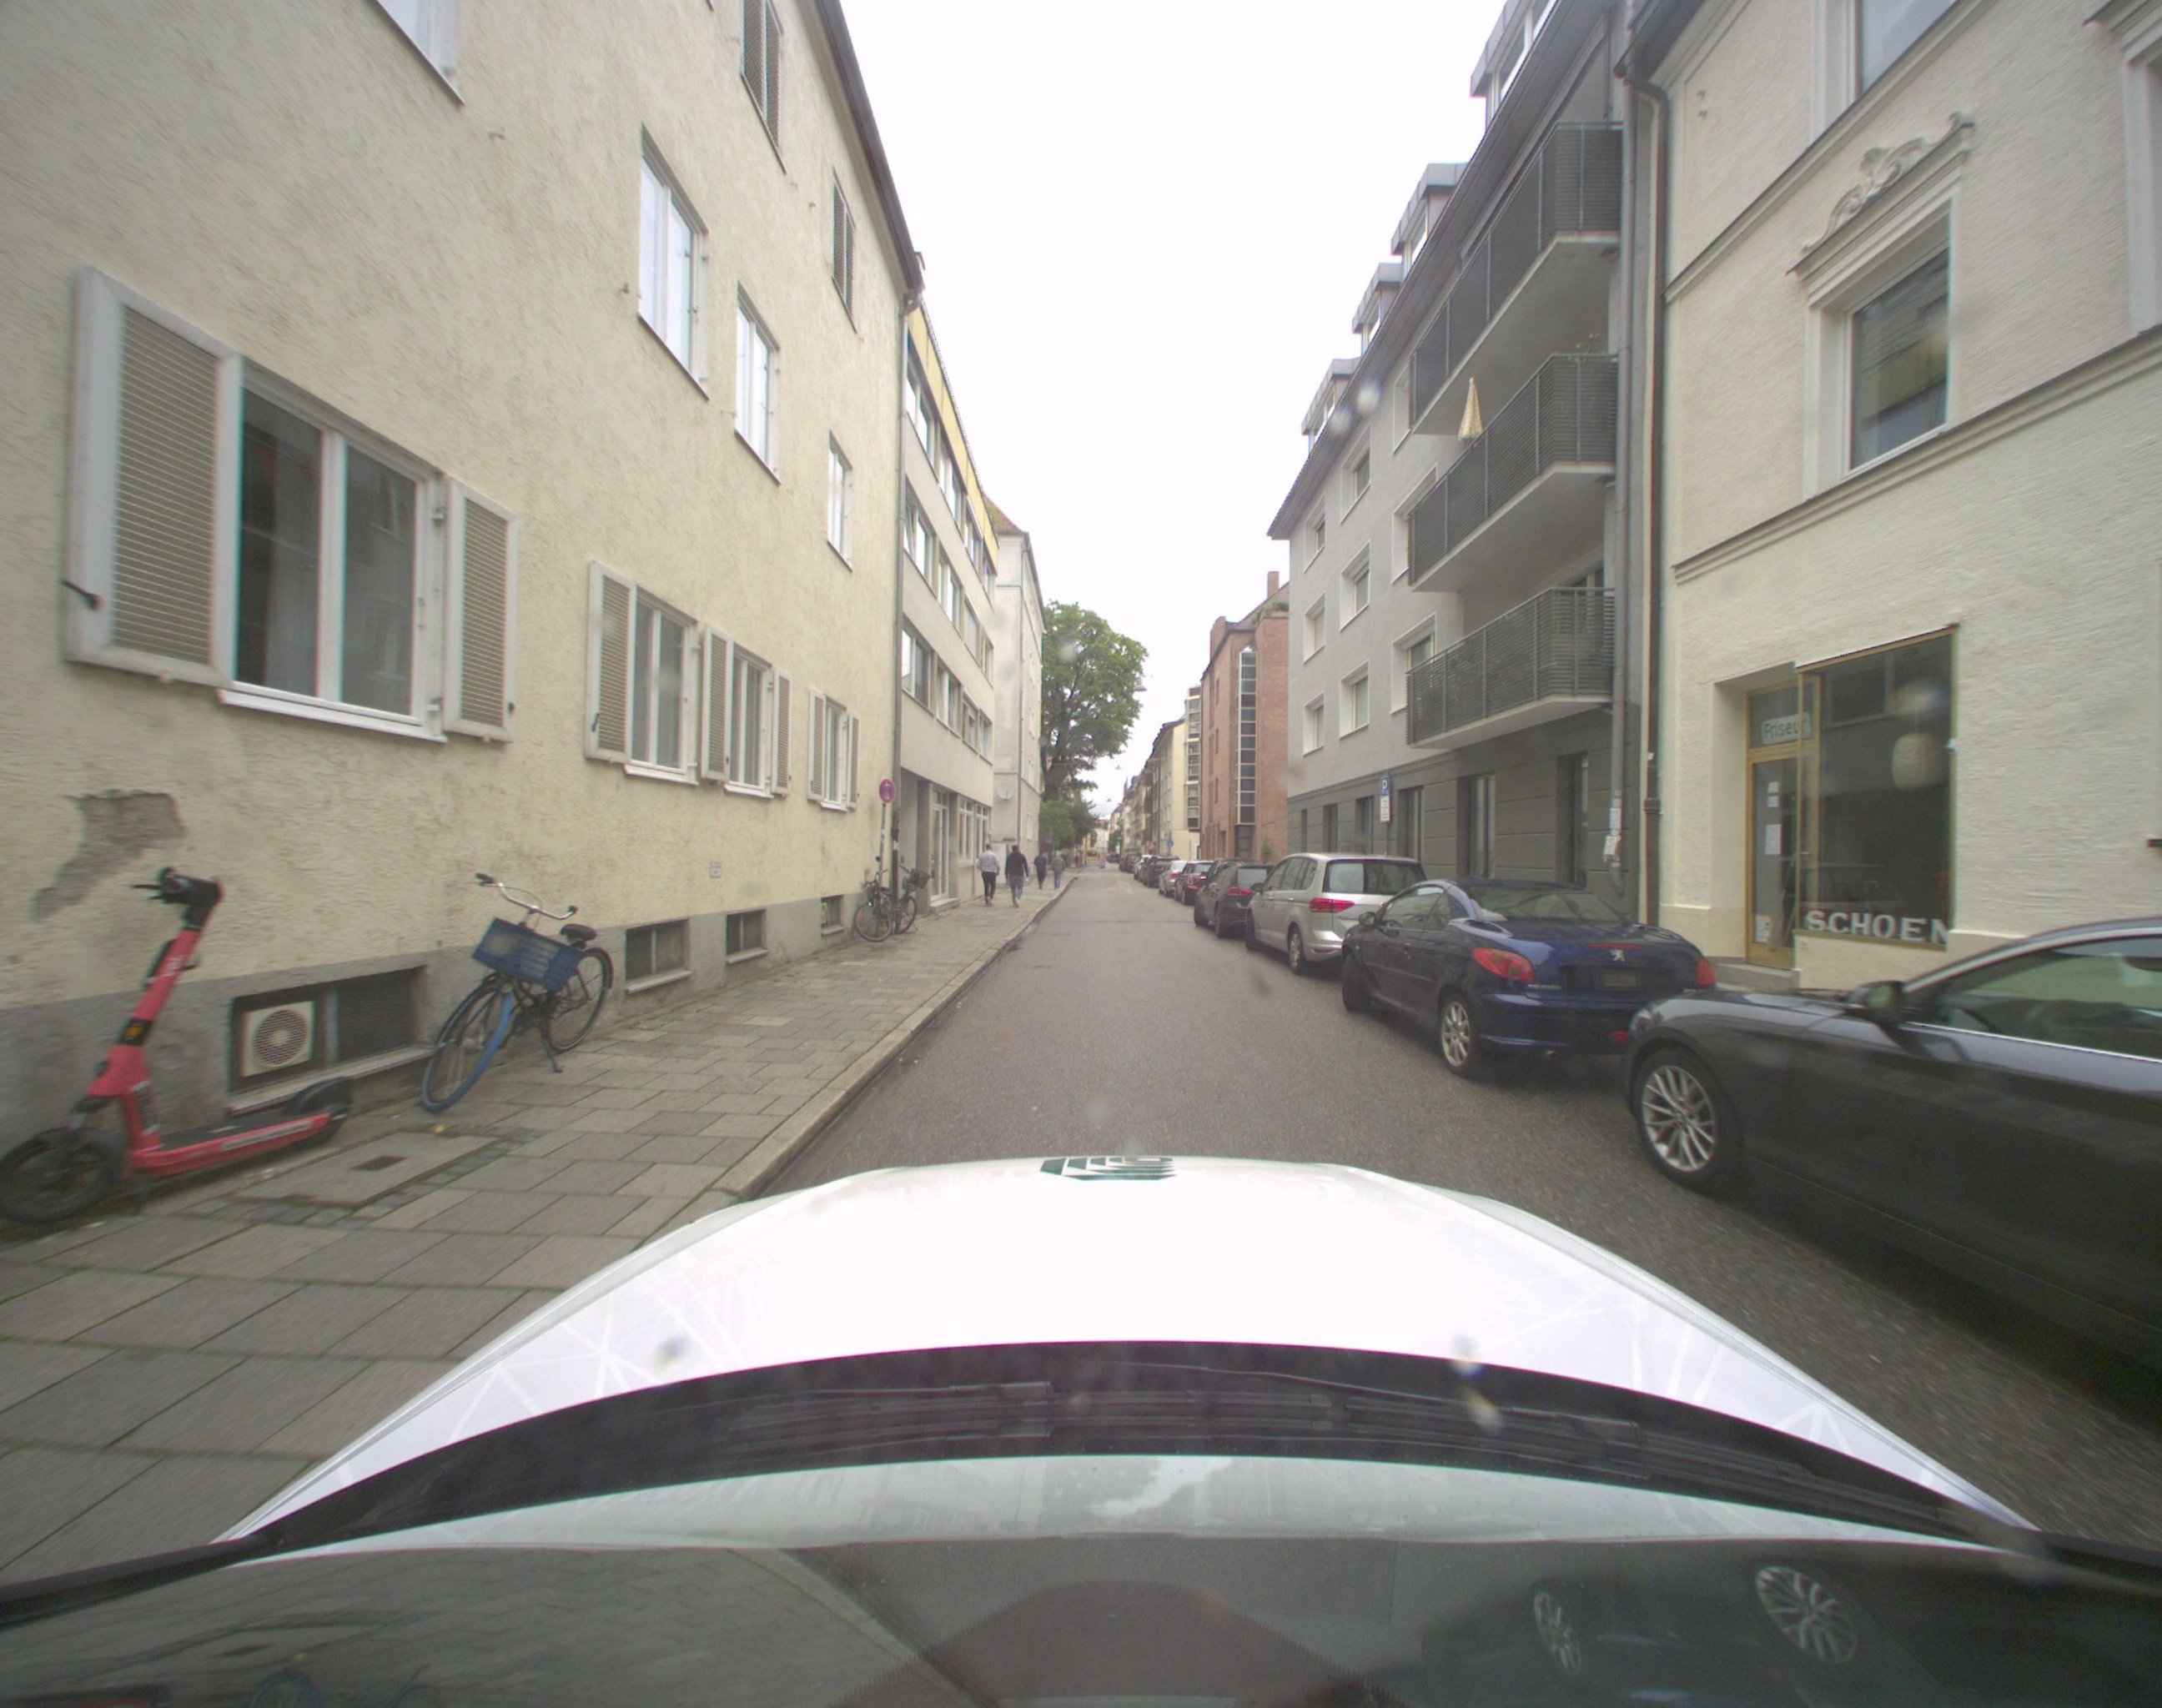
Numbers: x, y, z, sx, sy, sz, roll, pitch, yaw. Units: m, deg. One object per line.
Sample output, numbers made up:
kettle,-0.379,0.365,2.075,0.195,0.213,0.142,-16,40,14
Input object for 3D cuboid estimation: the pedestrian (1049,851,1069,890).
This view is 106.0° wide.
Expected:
pedestrian,-0.979,0.735,36.331,0.750,1.659,0.906,2,-1,1

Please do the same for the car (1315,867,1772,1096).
car,3.431,0.819,7.021,1.801,1.363,3.947,0,0,2

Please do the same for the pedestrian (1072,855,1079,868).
pedestrian,-0.645,0.914,94.439,0.753,1.491,0.831,0,-1,1

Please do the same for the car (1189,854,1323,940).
car,3.442,0.781,16.828,1.834,1.528,4.292,1,0,0

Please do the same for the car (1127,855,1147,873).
car,5.053,0.891,73.815,1.619,1.487,3.809,1,0,1

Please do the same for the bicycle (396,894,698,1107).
bicycle,-3.209,0.811,5.160,0.702,0.984,1.820,5,-1,-3

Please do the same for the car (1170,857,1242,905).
car,4.093,0.842,27.242,1.740,1.462,4.149,1,0,0

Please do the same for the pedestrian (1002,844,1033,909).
pedestrian,-1.788,0.622,22.893,0.716,1.765,0.838,2,-1,1

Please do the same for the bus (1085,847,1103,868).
bus,1.995,0.619,124.082,2.583,3.102,6.307,0,-1,1

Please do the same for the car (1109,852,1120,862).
car,6.340,0.618,155.900,1.796,1.712,3.825,4,0,-1

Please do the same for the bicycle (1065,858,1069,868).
bicycle,-1.570,1.001,92.014,0.445,1.073,2.467,0,-1,0

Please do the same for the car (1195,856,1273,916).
car,4.134,0.819,22.373,1.516,1.511,3.202,1,0,0

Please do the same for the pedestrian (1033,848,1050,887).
pedestrian,-1.758,0.601,36.269,0.610,1.713,0.823,2,-1,0

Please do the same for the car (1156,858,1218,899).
car,4.063,0.895,31.842,1.830,1.417,4.600,1,0,0

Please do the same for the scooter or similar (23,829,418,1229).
scooter or similar,-3.473,0.610,3.432,0.316,1.376,1.239,0,-1,1

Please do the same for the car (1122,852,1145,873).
car,4.979,0.805,78.178,1.796,1.820,3.998,4,0,-1

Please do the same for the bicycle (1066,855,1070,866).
bicycle,-1.660,0.860,104.823,0.512,1.418,1.934,0,-1,1

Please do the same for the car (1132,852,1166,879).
car,4.325,0.710,52.058,1.743,1.630,4.194,0,0,-1

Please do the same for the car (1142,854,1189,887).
car,4.270,0.796,41.691,1.880,1.555,4.389,1,0,-1

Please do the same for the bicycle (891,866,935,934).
bicycle,-3.074,0.812,15.020,0.561,1.159,1.718,1,-1,-5

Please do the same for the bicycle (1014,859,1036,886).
bicycle,-2.641,0.855,37.985,0.643,1.217,1.655,0,-1,-18

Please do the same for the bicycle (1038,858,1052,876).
bicycle,-2.330,0.842,52.596,0.474,1.111,1.750,1,0,-16

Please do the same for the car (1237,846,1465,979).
car,3.660,0.709,11.940,1.870,1.570,4.314,-1,0,-1

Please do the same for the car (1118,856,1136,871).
car,5.064,0.987,90.061,1.630,1.515,3.829,4,0,1

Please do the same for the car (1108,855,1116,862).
car,6.973,0.957,184.266,1.794,1.614,4.001,1,0,1

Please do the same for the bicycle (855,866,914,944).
bicycle,-3.187,0.795,13.305,0.456,1.159,1.606,3,-1,2

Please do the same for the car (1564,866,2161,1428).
car,3.637,0.759,2.483,1.794,1.386,4.349,0,0,0

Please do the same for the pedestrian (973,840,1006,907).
pedestrian,-2.533,0.534,22.596,0.716,1.796,0.917,2,-1,1
